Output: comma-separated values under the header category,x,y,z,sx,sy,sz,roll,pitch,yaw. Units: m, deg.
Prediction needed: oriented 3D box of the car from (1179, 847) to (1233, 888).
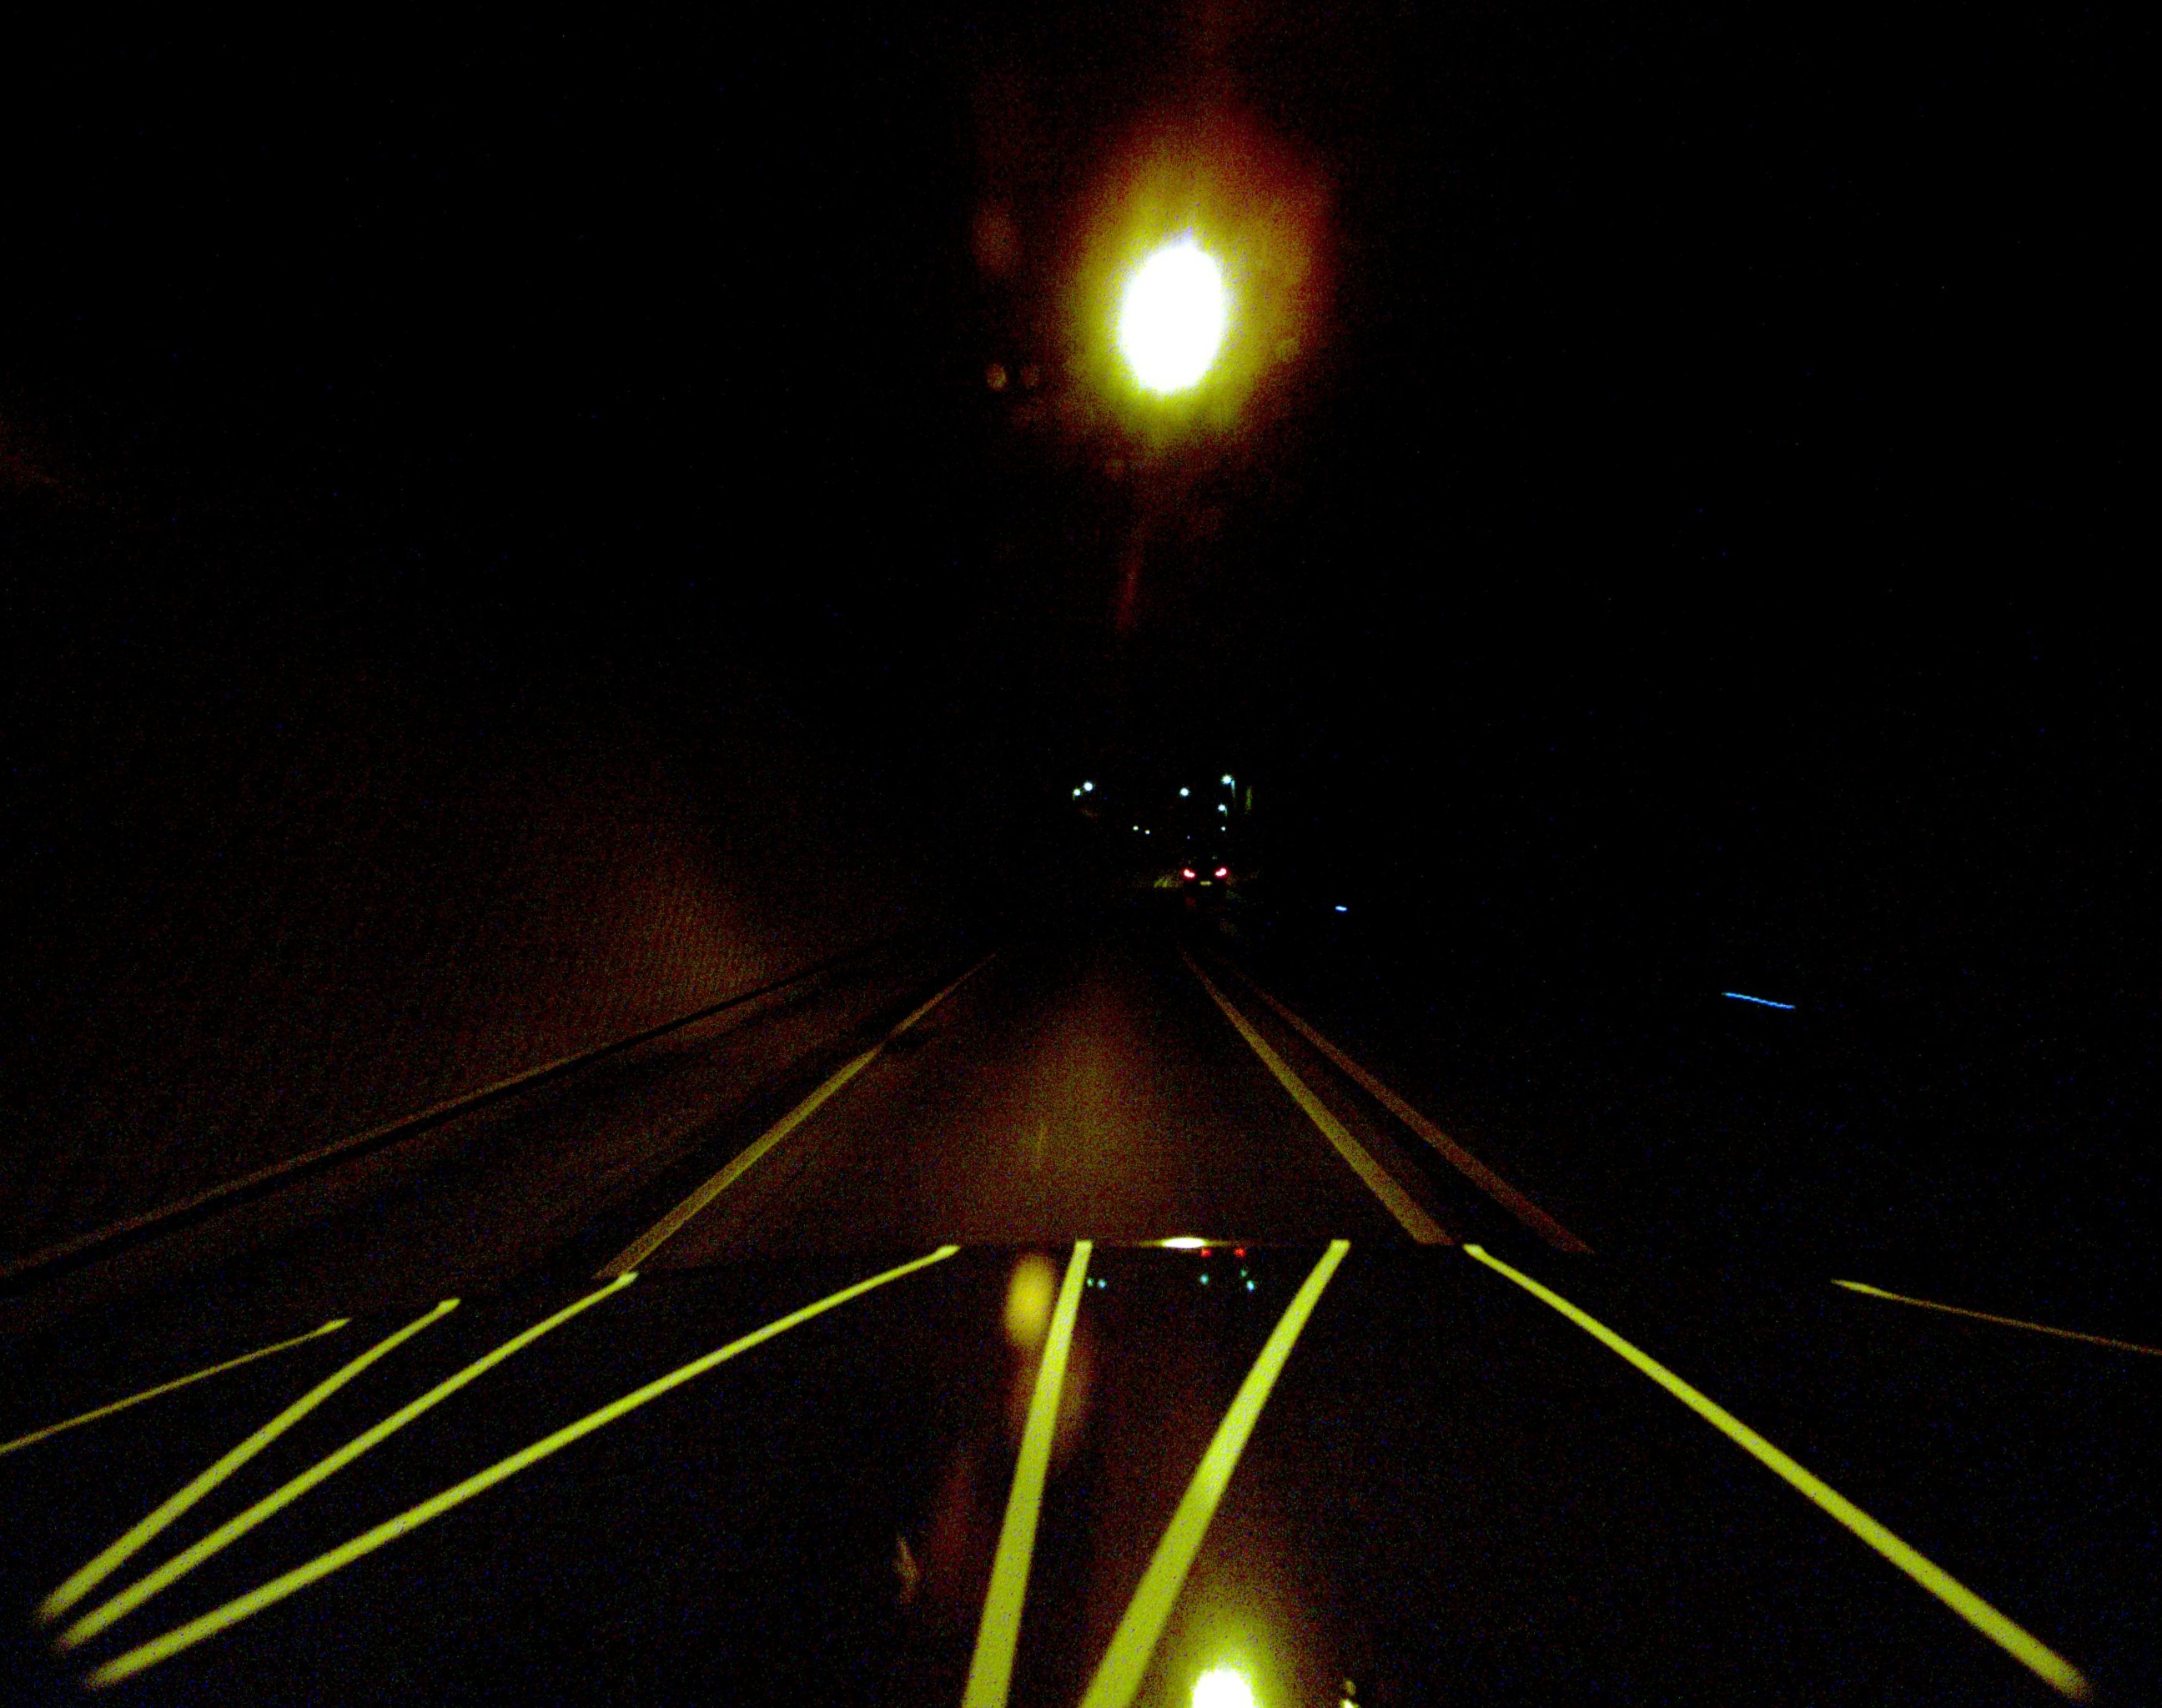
category,x,y,z,sx,sy,sz,roll,pitch,yaw
car,5.076,0.484,31.426,1.720,1.434,4.394,-5,0,4
